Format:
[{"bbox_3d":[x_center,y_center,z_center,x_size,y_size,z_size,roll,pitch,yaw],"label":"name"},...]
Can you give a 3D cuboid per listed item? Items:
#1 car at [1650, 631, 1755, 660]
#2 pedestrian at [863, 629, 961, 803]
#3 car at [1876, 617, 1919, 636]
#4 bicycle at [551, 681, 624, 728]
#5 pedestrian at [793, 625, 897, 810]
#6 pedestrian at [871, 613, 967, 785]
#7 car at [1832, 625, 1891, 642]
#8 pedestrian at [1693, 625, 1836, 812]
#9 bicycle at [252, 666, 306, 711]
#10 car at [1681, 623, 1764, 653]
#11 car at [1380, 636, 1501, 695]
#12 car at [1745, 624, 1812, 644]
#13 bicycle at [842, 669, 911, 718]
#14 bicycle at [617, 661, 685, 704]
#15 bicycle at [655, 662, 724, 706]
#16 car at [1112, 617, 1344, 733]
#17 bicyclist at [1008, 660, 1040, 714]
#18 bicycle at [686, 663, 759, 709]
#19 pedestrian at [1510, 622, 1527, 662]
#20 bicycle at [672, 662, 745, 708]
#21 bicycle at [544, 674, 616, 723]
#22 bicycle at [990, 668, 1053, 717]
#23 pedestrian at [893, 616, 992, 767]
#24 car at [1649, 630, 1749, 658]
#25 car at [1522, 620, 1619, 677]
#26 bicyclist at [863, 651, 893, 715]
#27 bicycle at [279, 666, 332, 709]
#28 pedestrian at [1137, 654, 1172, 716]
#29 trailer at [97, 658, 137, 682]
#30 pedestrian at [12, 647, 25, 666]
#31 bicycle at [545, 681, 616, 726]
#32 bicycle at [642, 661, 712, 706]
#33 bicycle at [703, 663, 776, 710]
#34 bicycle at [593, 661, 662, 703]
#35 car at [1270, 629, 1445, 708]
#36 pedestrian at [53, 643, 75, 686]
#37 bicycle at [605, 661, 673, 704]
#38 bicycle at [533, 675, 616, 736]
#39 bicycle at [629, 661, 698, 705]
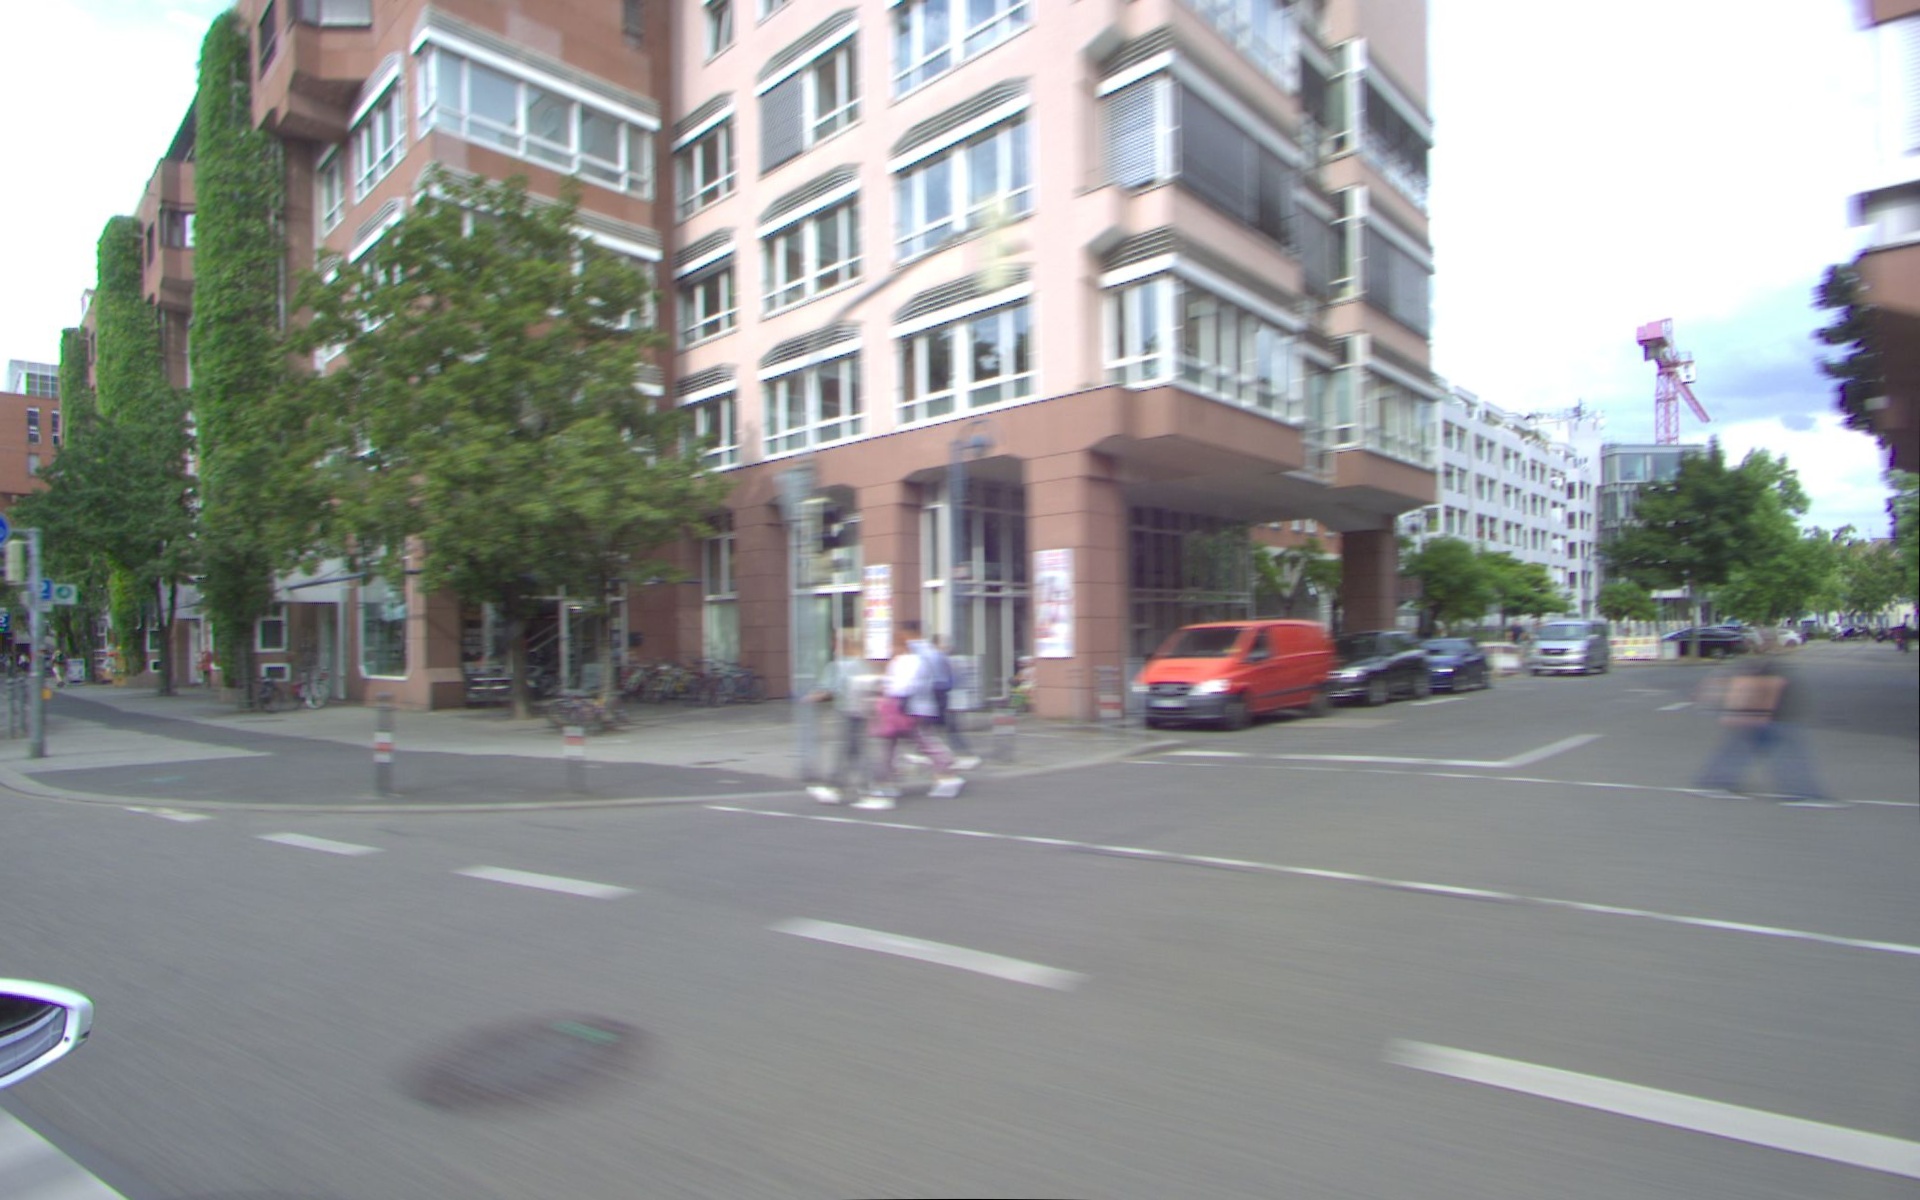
[{"bbox_3d":[38.155,2.330,51.567,4.266,1.423,1.825,-2,-2,37],"label":"car"},{"bbox_3d":[-0.483,1.114,9.922,0.840,1.637,0.514,-1,-1,39],"label":"pedestrian"},{"bbox_3d":[87.700,2.472,92.833,3.953,1.699,1.716,-3,-2,39],"label":"car"},{"bbox_3d":[-7.369,2.052,19.826,1.288,0.848,0.450,1,-2,-40],"label":"bicycle"},{"bbox_3d":[-1.080,1.055,9.338,0.840,1.637,0.515,-1,-1,38],"label":"pedestrian"},{"bbox_3d":[-0.465,1.085,11.339,0.841,1.852,0.673,-1,-1,39],"label":"pedestrian"},{"bbox_3d":[86.473,3.227,96.105,3.940,1.523,1.721,-2,-2,29],"label":"car"},{"bbox_3d":[7.149,1.009,8.923,0.936,1.558,0.672,-2,-2,40],"label":"pedestrian"},{"bbox_3d":[-16.681,2.156,24.519,1.714,1.021,0.614,-2,-2,38],"label":"bicycle"},{"bbox_3d":[46.709,2.339,61.439,3.950,1.790,1.717,-2,-2,37],"label":"car"},{"bbox_3d":[12.866,1.708,26.717,1.709,1.422,3.944,-4,-4,44],"label":"car"},{"bbox_3d":[63.869,2.666,78.226,3.950,1.523,1.717,-2,-2,37],"label":"car"},{"bbox_3d":[-1.670,1.853,20.004,1.297,0.926,0.474,0,-1,-20],"label":"bicycle"},{"bbox_3d":[-7.896,2.102,25.625,0.432,1.021,1.723,-2,-2,39],"label":"bicycle"},{"bbox_3d":[-6.662,2.056,24.747,0.419,1.021,1.723,-2,-2,39],"label":"bicycle"},{"bbox_3d":[5.045,1.299,18.408,1.981,1.848,4.798,-4,-4,44],"label":"car"},{"bbox_3d":[1.299,1.763,20.379,0.491,1.079,0.433,0,-1,-32],"label":"bicyclist"},{"bbox_3d":[-5.638,2.023,23.805,0.540,1.021,1.723,-2,-2,39],"label":"bicycle"},{"bbox_3d":[25.650,1.919,45.994,0.553,1.815,0.559,-2,-1,44],"label":"pedestrian"},{"bbox_3d":[-6.066,2.037,24.208,0.540,1.021,1.723,-2,-2,39],"label":"bicycle"},{"bbox_3d":[-7.878,2.025,20.762,1.286,0.879,0.451,-3,0,-36],"label":"bicycle"},{"bbox_3d":[1.254,1.869,20.339,1.265,0.926,0.451,1,-1,-32],"label":"bicycle"},{"bbox_3d":[-0.210,1.066,12.023,1.010,1.722,0.649,-1,-1,41],"label":"pedestrian"},{"bbox_3d":[39.621,2.371,53.772,4.266,1.423,1.825,-2,-2,37],"label":"car"},{"bbox_3d":[22.159,1.715,36.279,1.967,1.925,4.642,-2,-2,44],"label":"car"},{"bbox_3d":[-1.638,1.650,20.014,0.489,1.260,0.479,0,-1,-20],"label":"bicyclist"},{"bbox_3d":[-16.509,2.183,25.238,1.714,1.021,0.614,-2,-2,38],"label":"bicycle"},{"bbox_3d":[5.148,2.230,26.546,0.667,1.599,0.647,-1,-1,42],"label":"pedestrian"},{"bbox_3d":[-39.590,3.278,47.042,0.978,1.072,1.605,0,-2,-22],"label":"trailer"},{"bbox_3d":[-78.229,4.702,83.196,0.720,1.581,0.666,-2,-2,40],"label":"pedestrian"},{"bbox_3d":[-7.694,2.083,20.318,1.286,0.824,0.441,1,-2,-36],"label":"bicycle"},{"bbox_3d":[-7.053,2.071,25.031,0.473,1.021,1.723,-2,-2,39],"label":"bicycle"},{"bbox_3d":[-5.145,2.007,23.461,0.540,1.021,1.723,-2,-2,39],"label":"bicycle"},{"bbox_3d":[-8.685,2.129,26.207,0.466,1.021,1.723,-2,-2,39],"label":"bicycle"},{"bbox_3d":[9.201,1.520,22.981,1.981,1.609,4.798,-5,-4,44],"label":"car"},{"bbox_3d":[-39.990,2.885,44.685,0.774,1.882,0.643,-2,-2,43],"label":"pedestrian"},{"bbox_3d":[-8.289,2.119,25.927,0.425,1.021,1.723,-2,-2,39],"label":"bicycle"},{"bbox_3d":[-7.054,1.910,18.301,1.714,1.021,0.615,-2,-2,37],"label":"bicycle"},{"bbox_3d":[-7.475,2.086,25.336,0.466,1.021,1.723,-2,-2,39],"label":"bicycle"}]
